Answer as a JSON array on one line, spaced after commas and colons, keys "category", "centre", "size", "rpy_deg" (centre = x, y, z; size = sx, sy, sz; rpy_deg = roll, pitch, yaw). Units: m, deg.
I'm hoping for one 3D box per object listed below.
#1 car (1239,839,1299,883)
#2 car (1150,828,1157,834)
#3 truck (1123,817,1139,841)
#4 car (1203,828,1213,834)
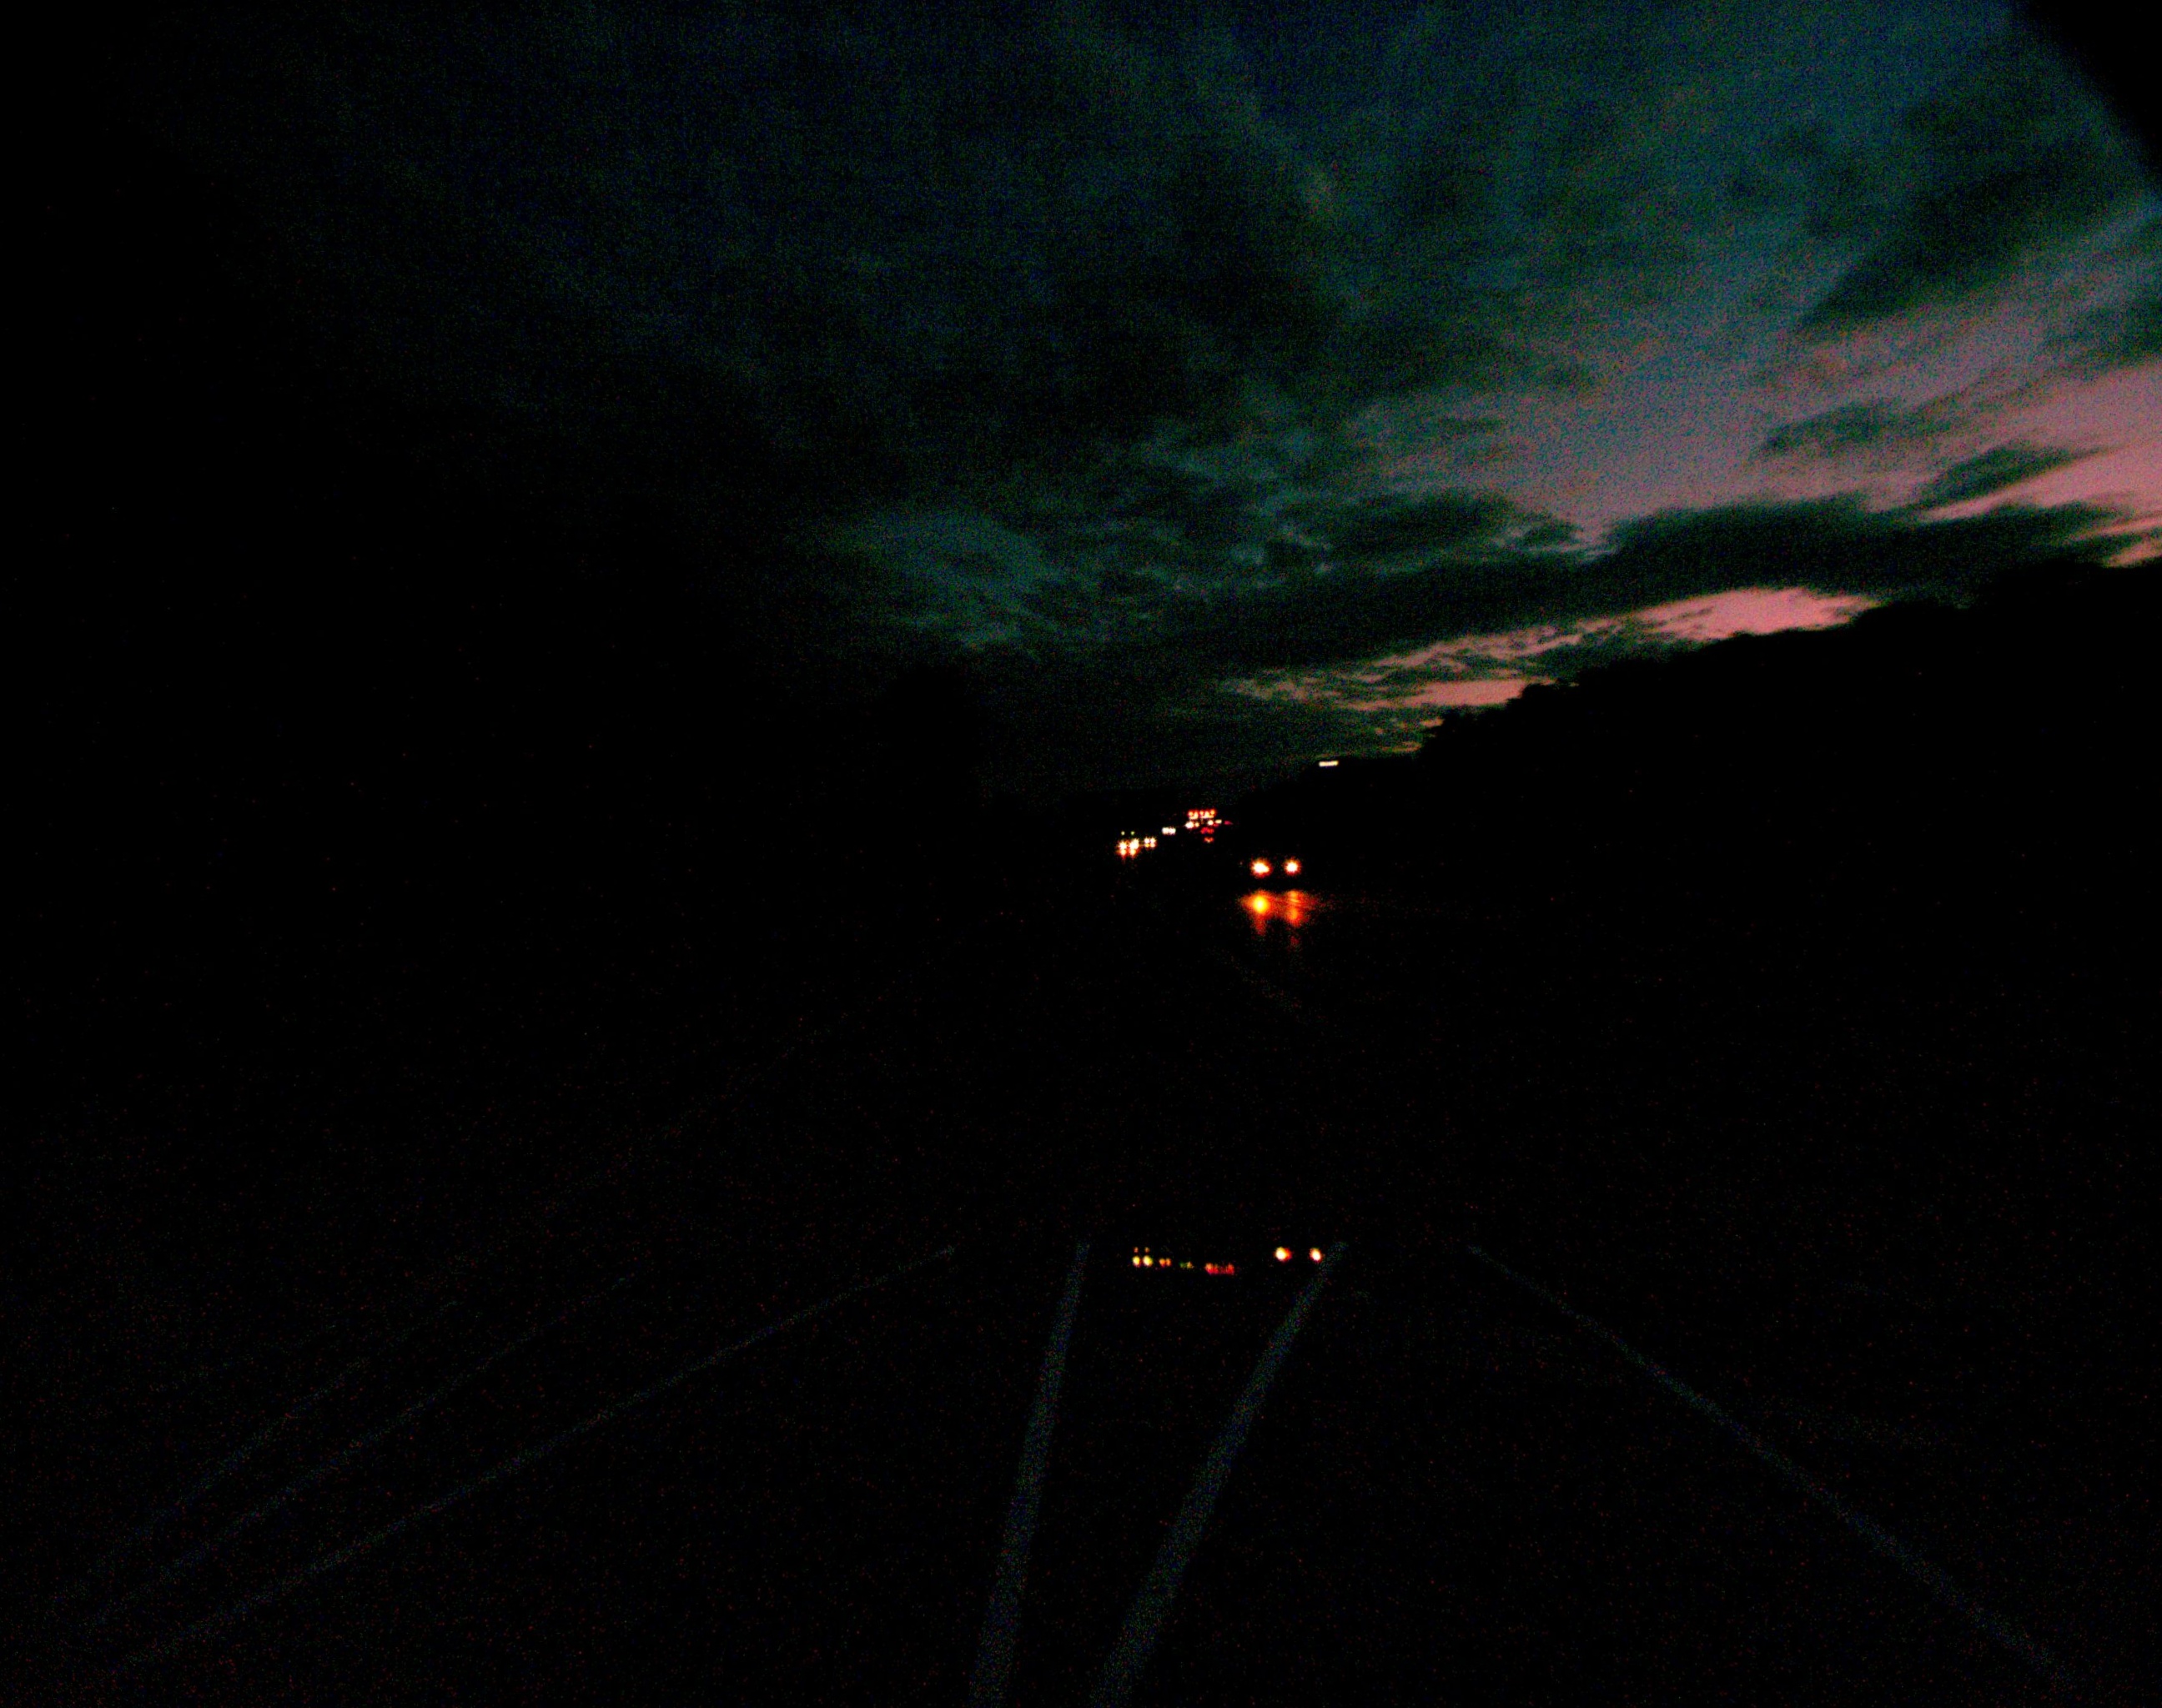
[{"category": "car", "centre": [7.612, 0.226, 31.067], "size": [1.716, 1.472, 3.999], "rpy_deg": [-2, 4, 5]}, {"category": "car", "centre": [19.750, -6.226, 206.275], "size": [1.653, 1.655, 3.773], "rpy_deg": [-2, 4, 3]}, {"category": "truck", "centre": [10.217, -5.236, 156.182], "size": [3.026, 4.374, 11.610], "rpy_deg": [-2, 4, 3]}, {"category": "car", "centre": [33.781, -6.047, 201.948], "size": [1.998, 1.411, 4.151], "rpy_deg": [-2, 2, 4]}]
